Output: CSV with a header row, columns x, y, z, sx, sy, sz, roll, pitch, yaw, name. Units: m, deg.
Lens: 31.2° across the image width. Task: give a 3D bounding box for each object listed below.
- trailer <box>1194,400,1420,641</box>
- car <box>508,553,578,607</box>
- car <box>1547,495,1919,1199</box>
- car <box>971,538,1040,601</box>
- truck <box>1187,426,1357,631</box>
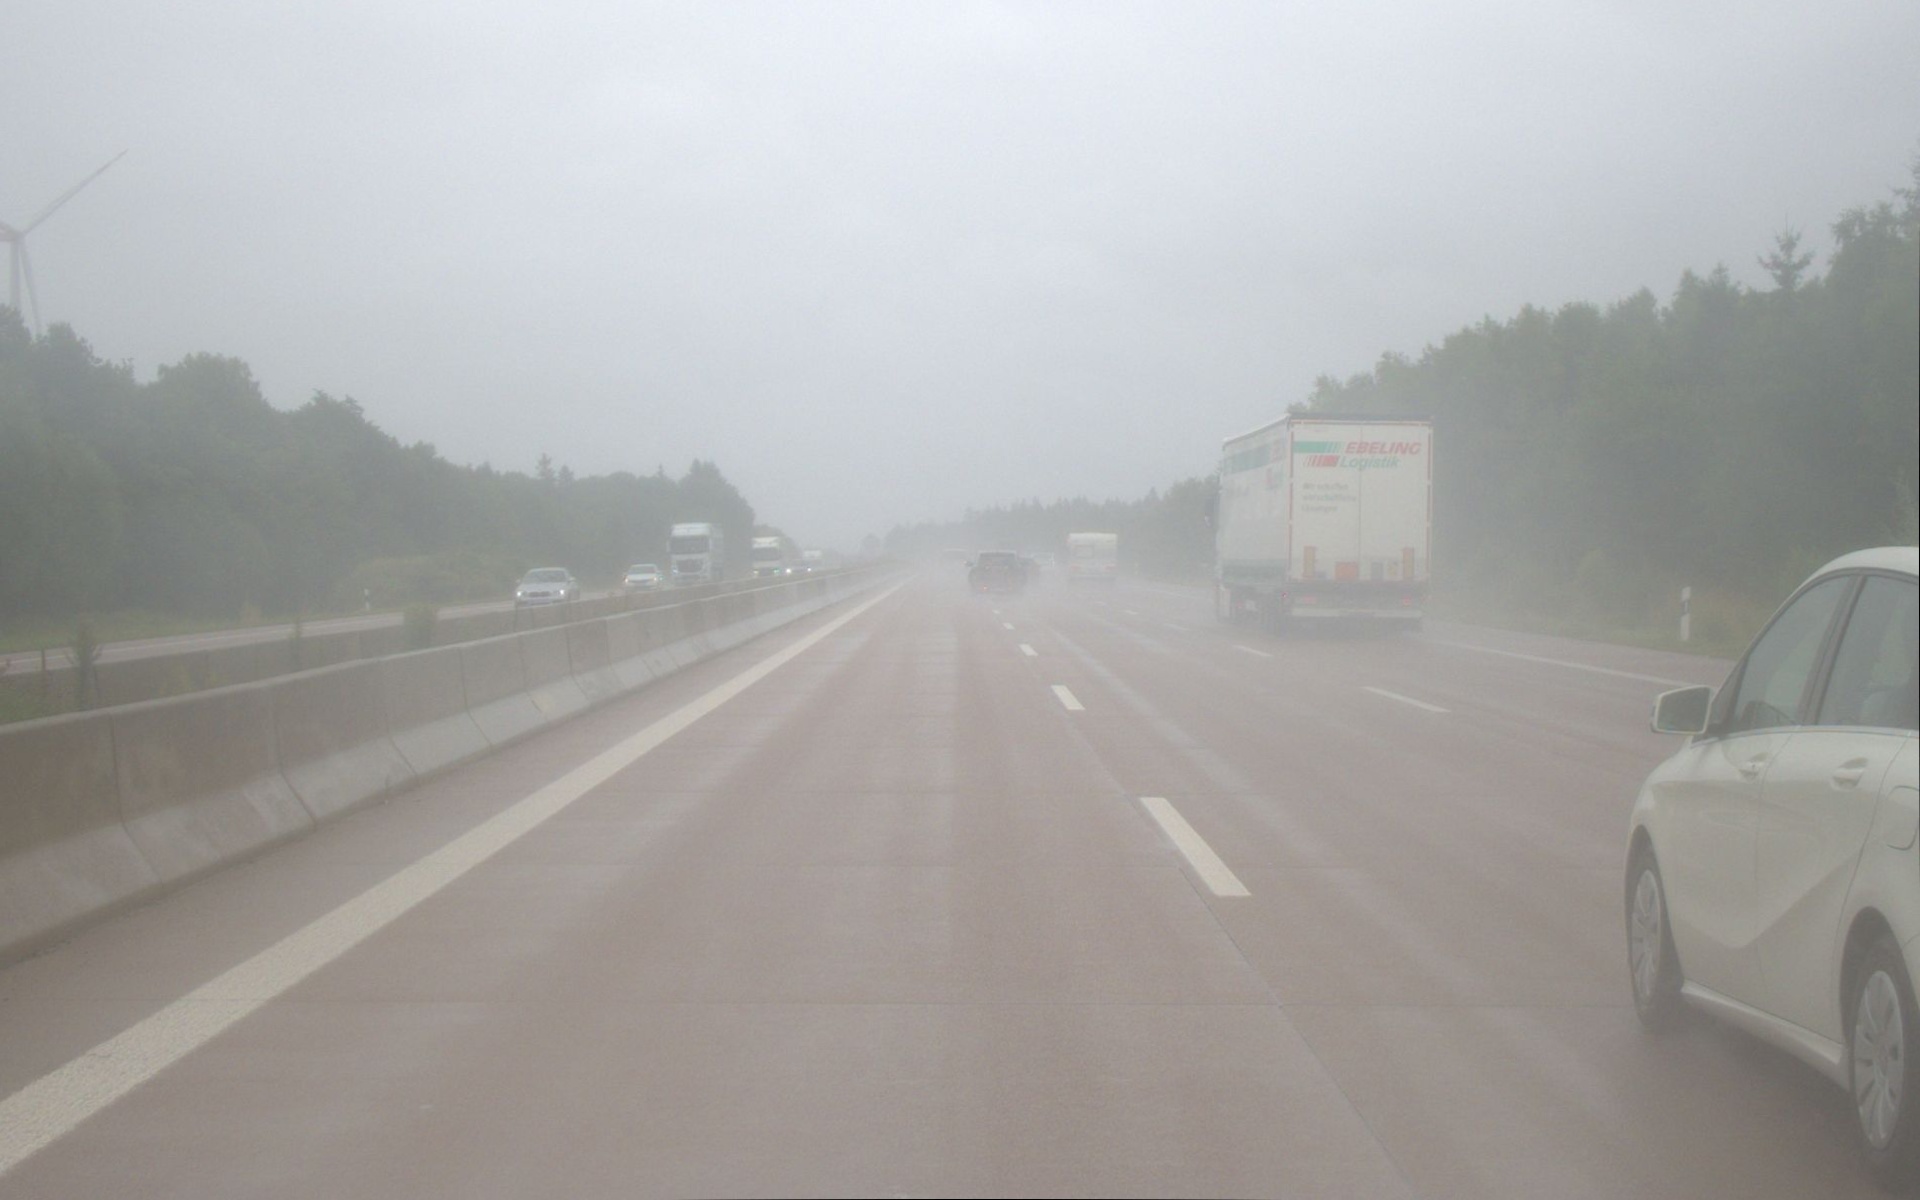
x,y,z,sx,sy,sz,roll,pitch,yaw,name
6.575,-1.549,67.206,2.852,4.217,13.133,-1,1,-1,trailer
-13.430,-0.656,110.989,1.808,1.626,4.506,3,1,-2,car
2.969,0.619,9.593,1.808,1.722,4.744,1,1,0,car
1.495,-1.032,113.637,2.173,1.974,4.130,2,1,0,car
6.486,-1.515,72.326,2.880,4.092,6.350,1,1,-1,truck
